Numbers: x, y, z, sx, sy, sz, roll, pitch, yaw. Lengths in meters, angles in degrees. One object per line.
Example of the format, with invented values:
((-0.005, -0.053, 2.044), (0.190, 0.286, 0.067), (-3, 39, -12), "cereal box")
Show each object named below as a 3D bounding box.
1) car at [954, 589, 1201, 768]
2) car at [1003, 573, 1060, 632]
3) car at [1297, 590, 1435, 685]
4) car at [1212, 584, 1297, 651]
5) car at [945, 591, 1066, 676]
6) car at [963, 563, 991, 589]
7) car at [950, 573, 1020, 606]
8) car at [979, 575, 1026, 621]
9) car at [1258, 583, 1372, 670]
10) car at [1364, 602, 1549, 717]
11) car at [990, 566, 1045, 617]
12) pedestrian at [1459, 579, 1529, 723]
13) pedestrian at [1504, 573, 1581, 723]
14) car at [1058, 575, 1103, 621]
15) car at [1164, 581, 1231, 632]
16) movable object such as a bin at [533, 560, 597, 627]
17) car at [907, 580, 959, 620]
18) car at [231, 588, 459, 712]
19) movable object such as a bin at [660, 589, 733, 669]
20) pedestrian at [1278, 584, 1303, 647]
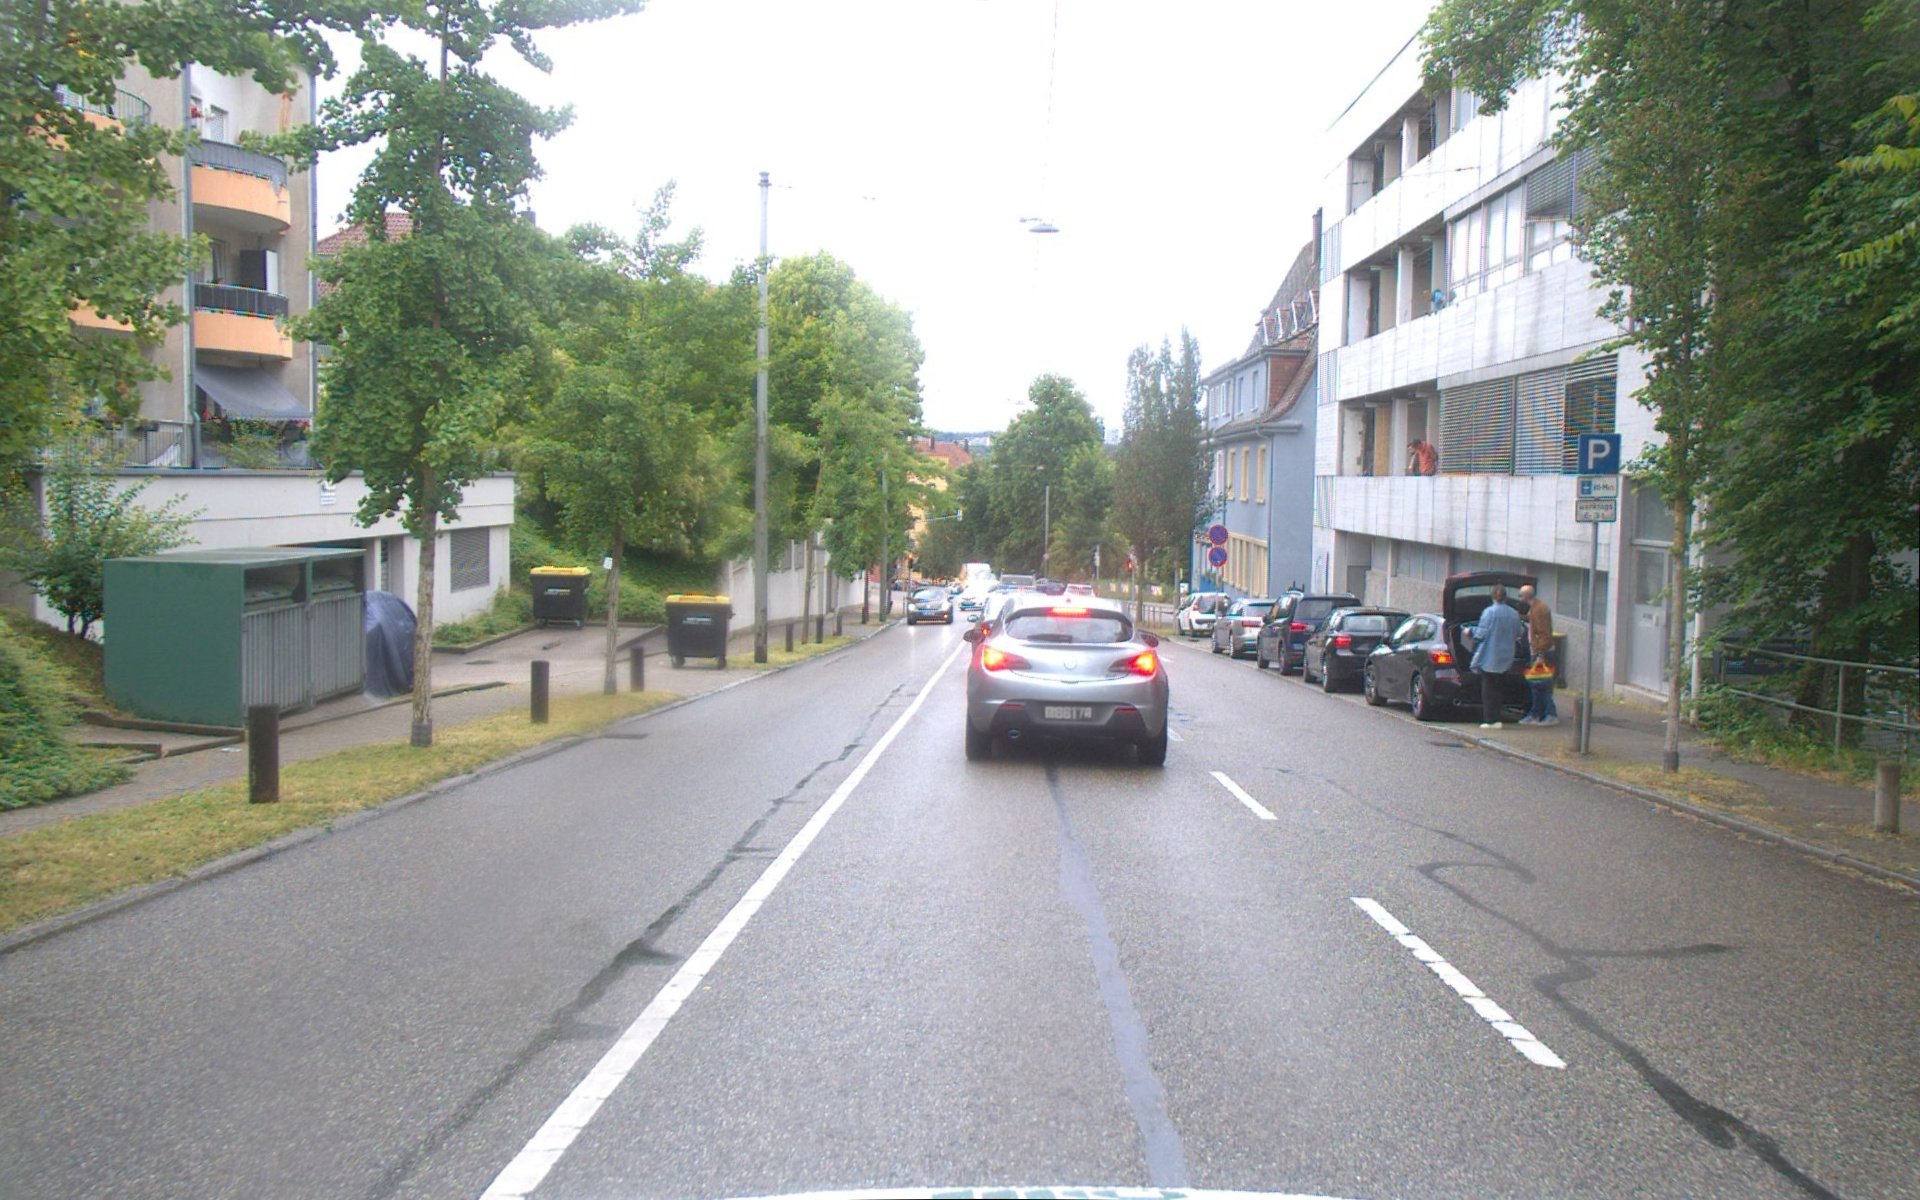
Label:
((0.985, 0.650, 15.848), (1.906, 1.457, 3.882), (1, 1, -3), "car")
((2.471, 0.051, 57.915), (1.733, 1.811, 3.977), (4, 2, 0), "car")
((7.137, 0.614, 29.408), (1.646, 1.489, 4.002), (0, 2, 3), "car")
((7.358, 0.400, 41.659), (1.551, 1.519, 4.292), (0, 2, 3), "car")
((0.731, 0.542, 29.260), (1.762, 1.346, 3.997), (2, 0, -4), "car")
((1.378, -1.901, 128.747), (1.952, 1.815, 4.002), (4, 2, 2), "car")
((1.367, -0.580, 89.745), (1.794, 1.504, 3.845), (-2, 2, 39), "car")
((1.693, -0.114, 66.818), (1.718, 1.679, 4.000), (4, 1, 0), "car")
((7.250, 0.497, 34.119), (1.650, 1.598, 4.002), (0, 2, 3), "car")
((6.993, 0.780, 23.674), (1.473, 1.460, 4.000), (0, 0, 0), "car")
((2.607, -0.414, 75.001), (2.286, 2.071, 4.737), (4, 2, 2), "car")
((6.768, 0.634, 20.944), (0.747, 1.753, 0.737), (-1, 1, 23), "pedestrian")
((7.532, 0.606, 21.379), (0.682, 1.868, 0.656), (-3, 2, -40), "pedestrian")
((6.075, -0.151, 83.584), (1.952, 2.071, 4.737), (4, 2, 2), "car")
((8.066, 0.200, 56.421), (1.867, 1.598, 4.002), (0, 2, 2), "car")
((-8.685, -0.152, 36.383), (1.246, 1.411, 0.489), (2, 1, -1), "movable object such as a bin")
((-1.070, -0.015, 67.537), (1.811, 1.494, 4.089), (-3, 0, 2), "car")
((-8.493, 0.623, 23.204), (1.706, 1.482, 3.884), (-3, 1, -1), "car")
((-4.879, 0.537, 30.690), (1.246, 1.411, 0.489), (2, 1, -1), "movable object such as a bin")
((9.729, 0.458, 48.712), (0.632, 1.815, 0.542), (1, 1, 2), "pedestrian")
